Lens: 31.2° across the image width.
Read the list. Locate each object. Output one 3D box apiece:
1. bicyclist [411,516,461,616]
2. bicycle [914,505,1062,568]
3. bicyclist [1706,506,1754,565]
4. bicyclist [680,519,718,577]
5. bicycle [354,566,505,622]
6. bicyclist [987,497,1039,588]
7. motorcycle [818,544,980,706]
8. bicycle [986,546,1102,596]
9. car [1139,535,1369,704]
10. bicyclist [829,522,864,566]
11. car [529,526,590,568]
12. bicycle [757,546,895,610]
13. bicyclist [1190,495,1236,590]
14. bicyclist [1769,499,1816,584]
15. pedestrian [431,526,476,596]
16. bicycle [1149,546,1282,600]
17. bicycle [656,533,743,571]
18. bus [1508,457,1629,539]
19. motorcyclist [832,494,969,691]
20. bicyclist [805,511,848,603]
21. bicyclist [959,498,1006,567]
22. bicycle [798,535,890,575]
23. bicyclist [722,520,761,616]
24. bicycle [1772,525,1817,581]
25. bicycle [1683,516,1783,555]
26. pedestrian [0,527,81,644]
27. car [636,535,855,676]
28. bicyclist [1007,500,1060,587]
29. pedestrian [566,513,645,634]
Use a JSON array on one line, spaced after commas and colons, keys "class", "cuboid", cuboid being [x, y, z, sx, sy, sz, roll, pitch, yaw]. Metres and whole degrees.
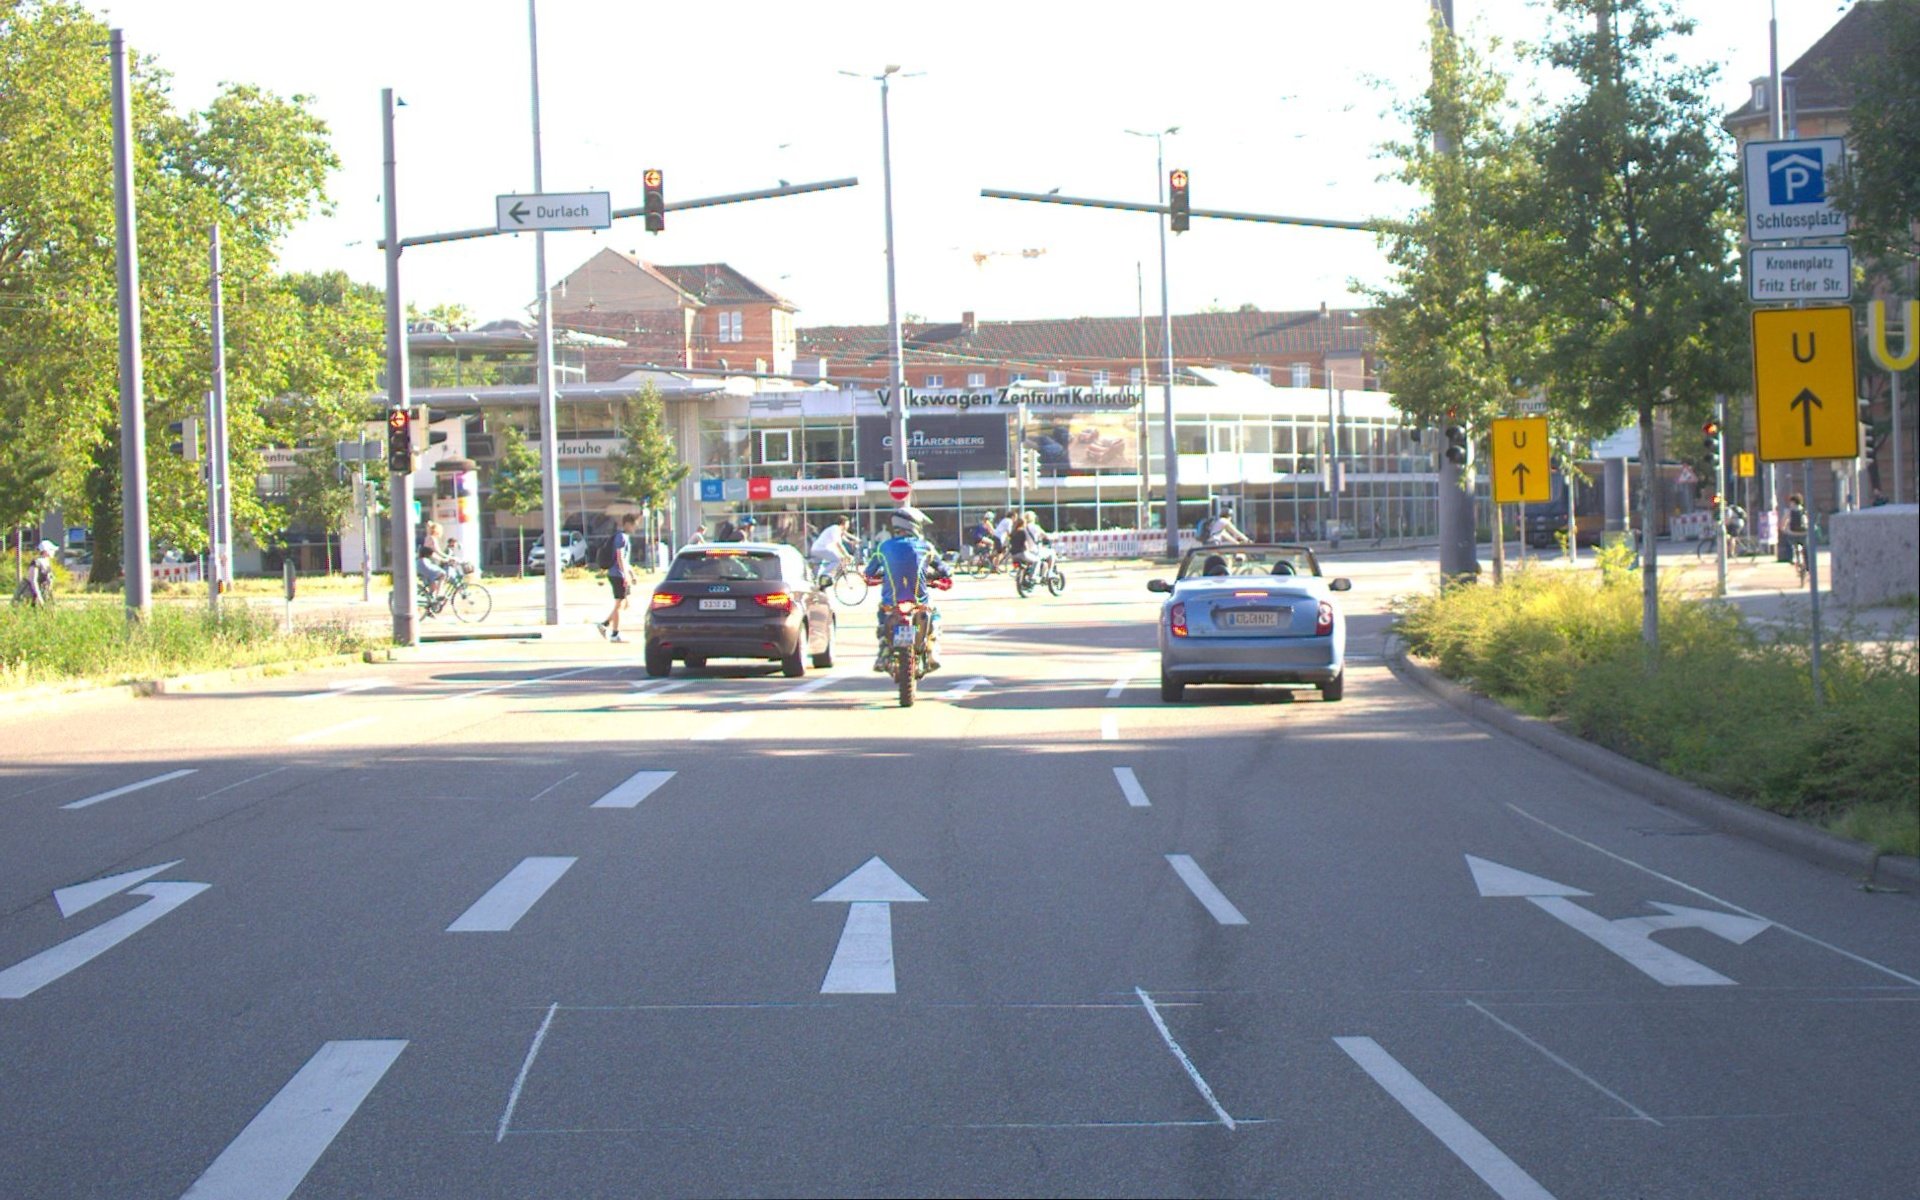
[{"class": "bicyclist", "cuboid": [-9.080, -0.601, 59.559, 0.745, 1.685, 0.860, -1, 3, -16]}, {"class": "bicycle", "cuboid": [0.781, -1.807, 96.833, 3.986, 1.684, 1.139, -1, 3, -13]}, {"class": "bicyclist", "cuboid": [20.810, -1.745, 92.926, 0.923, 1.554, 0.963, -2, 1, -10]}, {"class": "bicyclist", "cuboid": [-7.175, -1.441, 94.405, 0.923, 1.554, 0.860, -1, 3, -11]}, {"class": "bicycle", "cuboid": [-9.192, -0.107, 59.538, 2.492, 0.871, 0.860, -1, 3, -16]}, {"class": "bicyclist", "cuboid": [1.053, -1.133, 68.068, 0.583, 1.771, 0.867, -2, 1, -38]}, {"class": "motorcycle", "cuboid": [-0.514, 0.190, 30.523, 1.096, 1.372, 2.652, 0, 1, 6]}, {"class": "bicycle", "cuboid": [1.682, -0.589, 68.595, 2.297, 0.902, 0.860, -3, 4, -38]}, {"class": "car", "cuboid": [2.786, 0.128, 31.863, 1.801, 1.439, 3.977, 0, 1, 10]}, {"class": "bicyclist", "cuboid": [-3.040, -1.492, 91.789, 0.712, 1.139, 0.838, -1, 3, -19]}, {"class": "car", "cuboid": [-16.237, -2.158, 139.539, 1.993, 1.529, 4.001, 0, 3, 0]}, {"class": "bicycle", "cuboid": [-2.539, -0.415, 65.117, 2.492, 1.129, 0.860, -1, 3, -12]}, {"class": "bicyclist", "cuboid": [4.630, -1.058, 62.913, 0.649, 1.685, 0.860, -1, 3, -10]}, {"class": "bicyclist", "cuboid": [16.061, -1.121, 66.326, 0.790, 1.588, 0.946, -3, 0, 13]}, {"class": "pedestrian", "cuboid": [-13.387, -1.045, 90.879, 0.989, 1.810, 0.920, 0, 3, 4]}, {"class": "bicycle", "cuboid": [4.671, -0.498, 62.948, 2.295, 0.902, 0.860, -1, 3, -10]}, {"class": "bicycle", "cuboid": [-7.159, -1.331, 94.429, 2.295, 0.976, 0.860, -1, 3, -10]}, {"class": "bus", "cuboid": [23.391, -3.957, 131.743, 2.357, 2.873, 9.567, 1, 3, 24]}, {"class": "motorcyclist", "cuboid": [-0.520, -0.068, 30.516, 1.096, 1.715, 0.936, 0, 1, 7]}, {"class": "bicyclist", "cuboid": [-2.531, -0.819, 65.090, 0.649, 1.685, 0.860, -1, 3, -12]}, {"class": "bicyclist", "cuboid": [0.629, -1.912, 96.752, 1.070, 1.894, 1.123, -1, 3, -13]}, {"class": "bicycle", "cuboid": [-3.096, -1.202, 91.782, 2.295, 0.956, 0.860, -3, 3, -18]}, {"class": "bicyclist", "cuboid": [-3.929, -0.585, 61.911, 0.649, 1.685, 0.860, -1, 3, -6]}, {"class": "bicycle", "cuboid": [16.110, -0.913, 66.374, 0.790, 1.035, 1.962, -3, 0, 13]}, {"class": "bicycle", "cuboid": [20.895, -1.752, 92.950, 2.437, 1.000, 0.963, -2, 1, -10]}, {"class": "pedestrian", "cuboid": [-12.938, -0.210, 48.136, 1.092, 1.601, 0.699, -1, 3, -5]}, {"class": "car", "cuboid": [-2.294, 0.018, 37.694, 1.801, 1.439, 3.978, 0, 1, 5]}, {"class": "bicyclist", "cuboid": [1.457, -1.133, 68.415, 0.649, 1.685, 0.860, -3, 4, -38]}, {"class": "pedestrian", "cuboid": [-4.946, -0.371, 48.009, 0.826, 1.666, 0.699, -2, 1, -34]}]
